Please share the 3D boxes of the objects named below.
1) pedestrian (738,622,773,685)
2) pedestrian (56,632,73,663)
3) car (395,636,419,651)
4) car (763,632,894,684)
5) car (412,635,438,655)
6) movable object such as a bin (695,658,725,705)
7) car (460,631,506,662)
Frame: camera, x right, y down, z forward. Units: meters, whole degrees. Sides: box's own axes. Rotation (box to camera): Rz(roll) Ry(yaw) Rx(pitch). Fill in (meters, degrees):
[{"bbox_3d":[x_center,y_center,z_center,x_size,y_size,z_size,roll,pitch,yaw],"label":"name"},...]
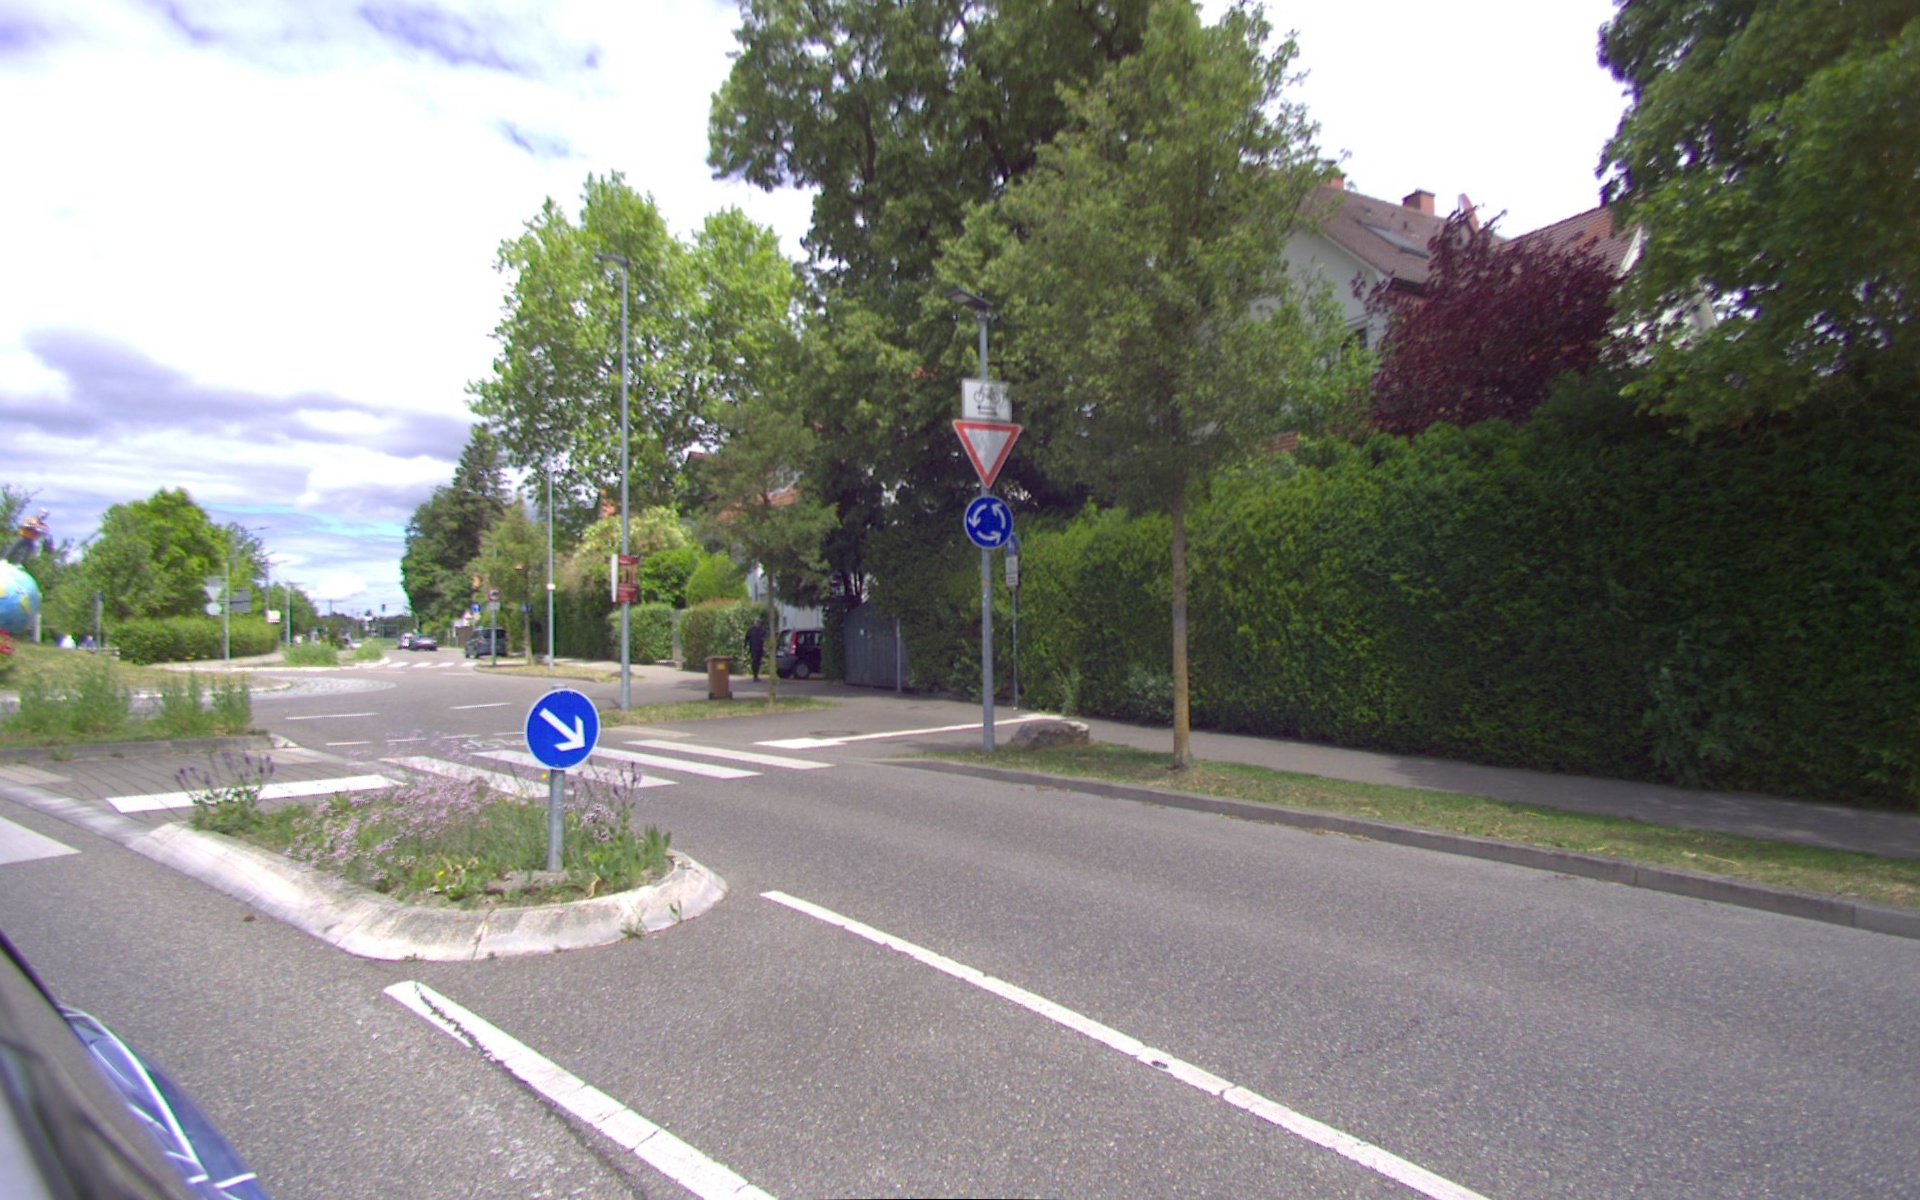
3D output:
[{"bbox_3d":[-5.658,1.462,27.979,0.733,1.704,0.696,0,-1,-30],"label":"pedestrian"},{"bbox_3d":[-51.015,2.698,57.656,0.566,1.710,0.600,-2,-3,36],"label":"pedestrian"},{"bbox_3d":[-63.724,5.029,116.590,1.967,1.719,4.009,2,-3,-36],"label":"car"},{"bbox_3d":[-3.959,1.746,30.560,3.517,1.408,1.670,4,-3,-31],"label":"car"},{"bbox_3d":[-47.559,3.979,89.915,1.832,1.589,4.012,0,-1,-31],"label":"car"},{"bbox_3d":[-5.175,1.678,20.935,0.410,0.942,0.437,-1,-3,30],"label":"movable object such as a bin"},{"bbox_3d":[-26.749,2.578,56.718,1.654,1.674,4.010,1,-2,-35],"label":"car"}]
